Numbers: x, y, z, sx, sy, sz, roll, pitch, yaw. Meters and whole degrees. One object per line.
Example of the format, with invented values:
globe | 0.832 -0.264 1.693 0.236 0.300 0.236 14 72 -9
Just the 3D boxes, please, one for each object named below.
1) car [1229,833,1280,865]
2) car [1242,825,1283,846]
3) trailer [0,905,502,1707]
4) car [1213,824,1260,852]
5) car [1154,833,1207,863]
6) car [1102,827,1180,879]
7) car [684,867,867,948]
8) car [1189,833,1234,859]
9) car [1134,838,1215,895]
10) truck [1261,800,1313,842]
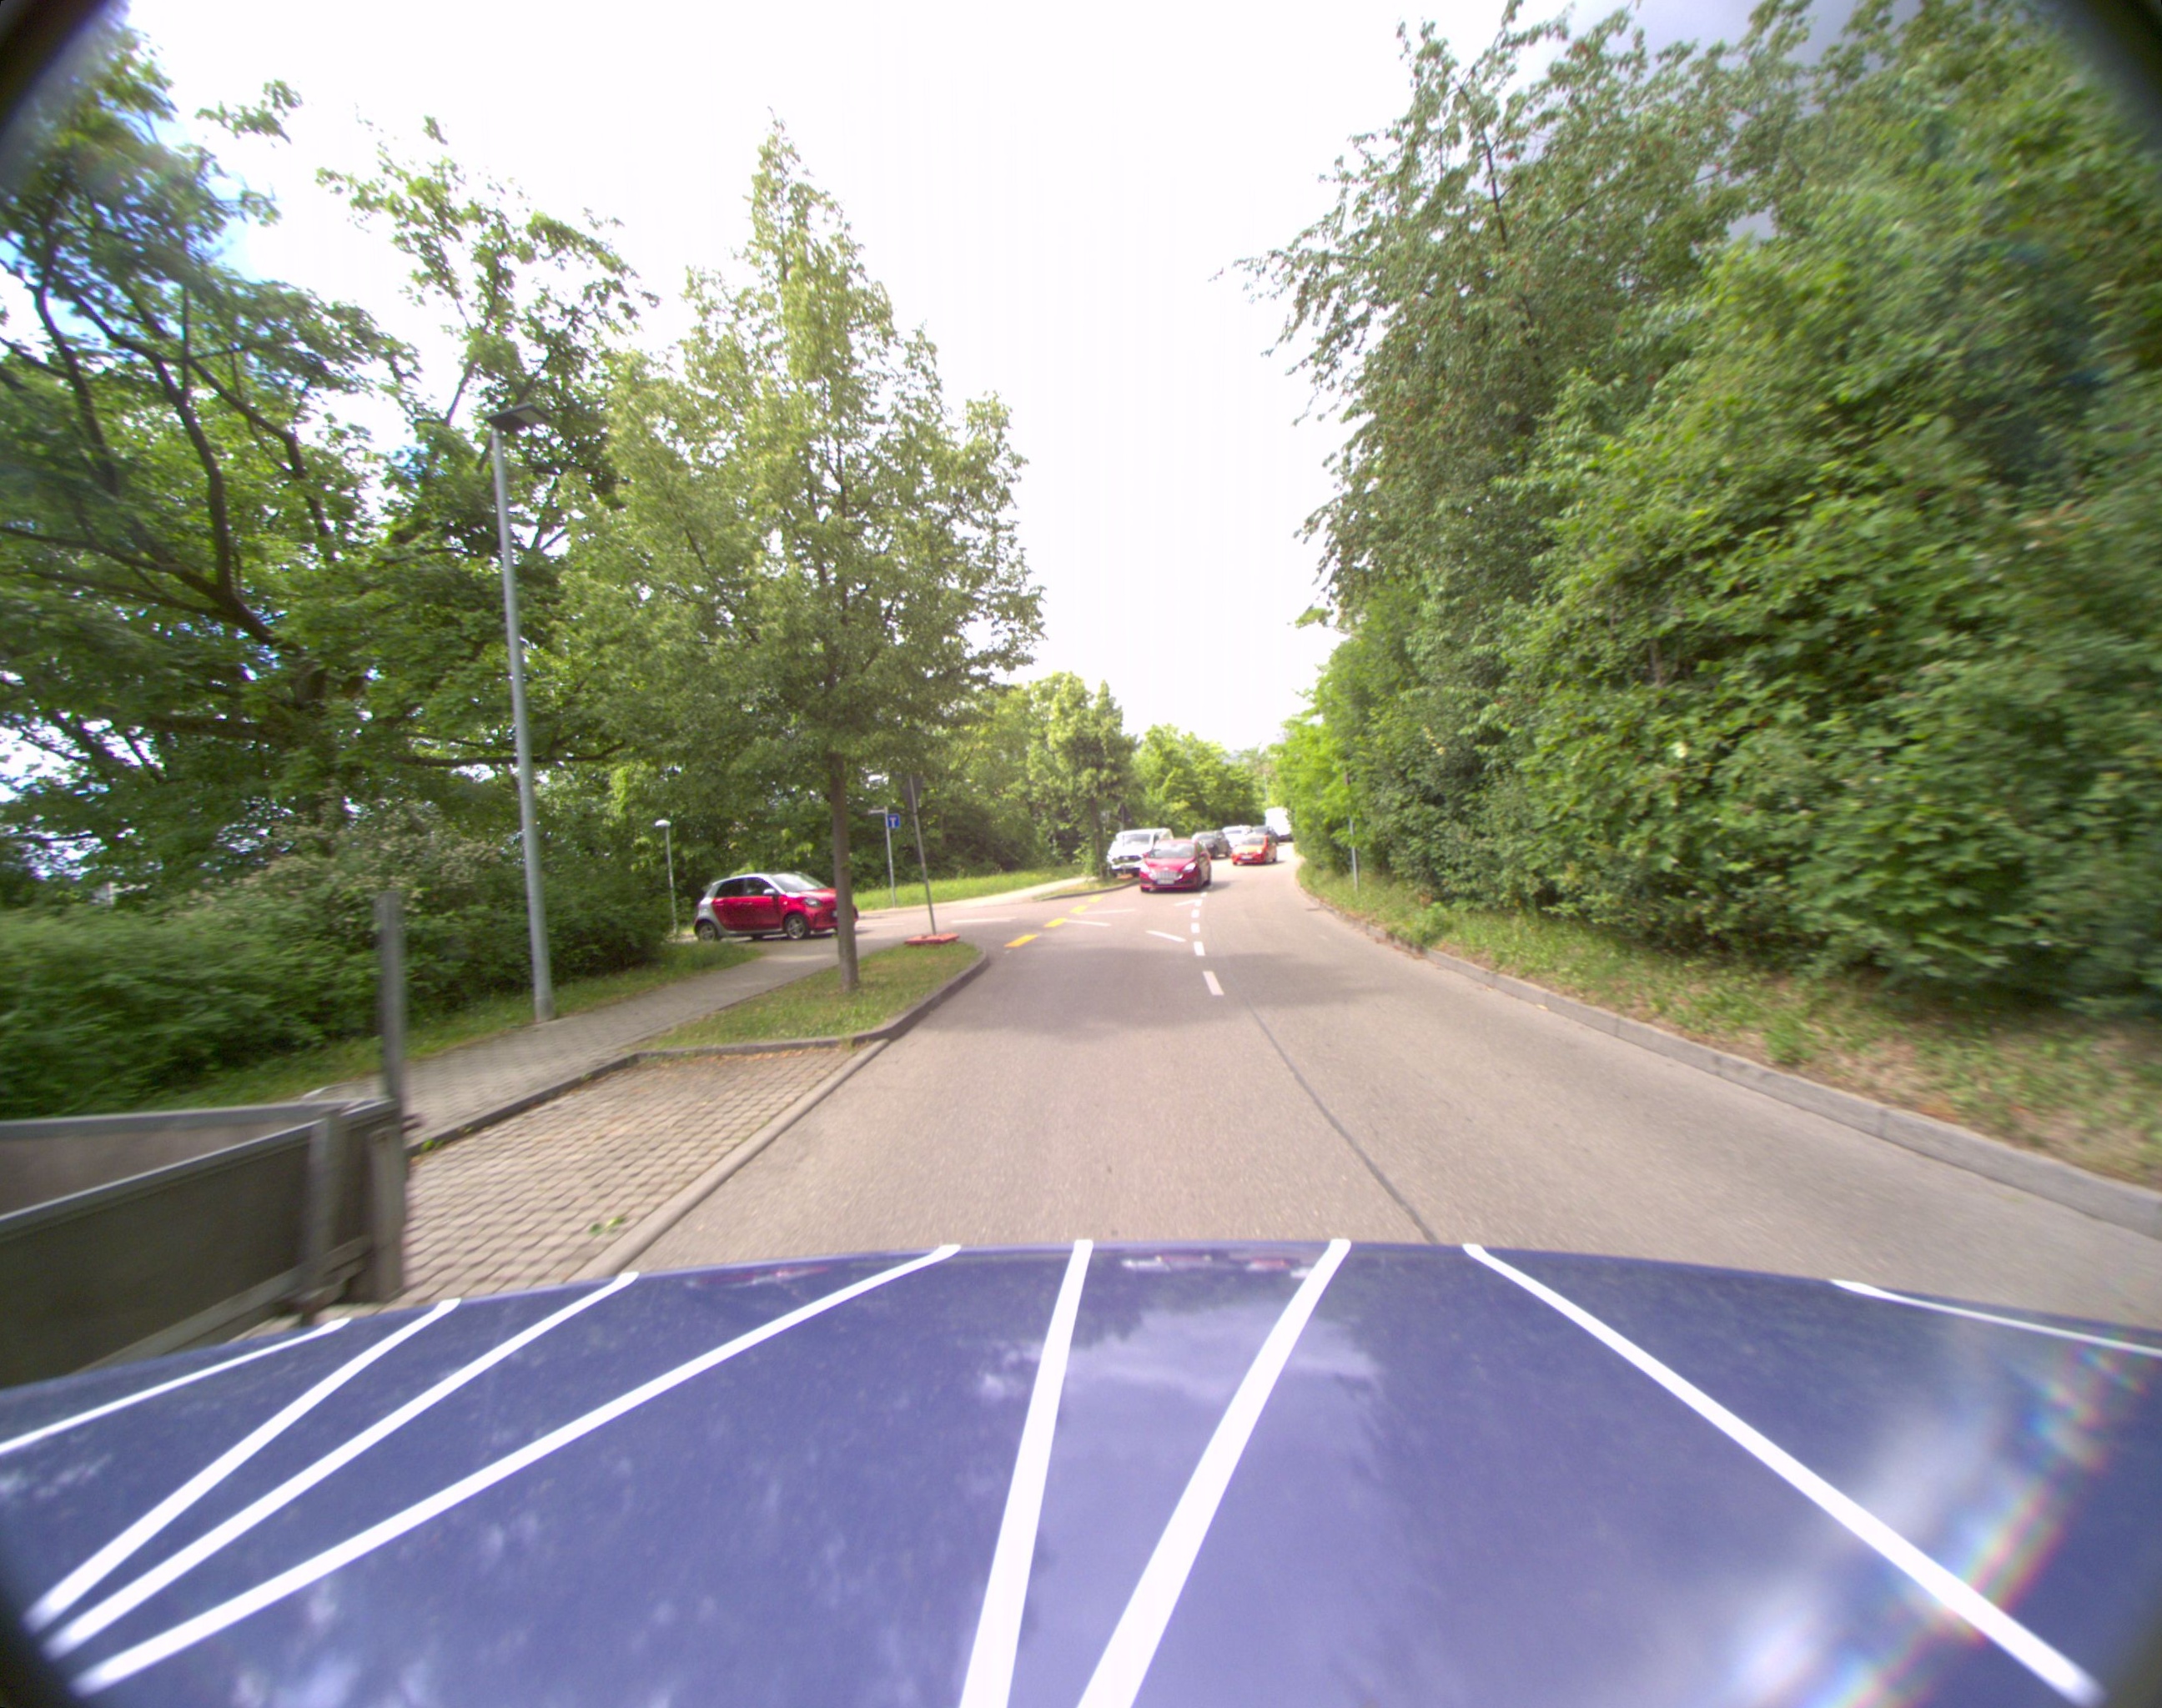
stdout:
car | 8.979 -0.283 39.056 1.793 1.405 4.117 -1 3 23
car | 13.368 -1.391 55.854 1.792 1.374 4.112 -2 1 29
trailer | -2.879 0.997 0.248 1.814 1.569 4.490 -3 0 1
car | 10.247 -1.064 49.990 1.792 1.703 4.112 -2 1 29
car | 5.235 -0.325 39.526 1.793 1.405 4.110 -2 1 21
car | 2.719 -0.098 33.106 1.867 2.047 5.434 -2 1 21
car | -6.803 1.189 16.995 3.481 1.509 1.653 -4 2 20
car | 7.780 -0.512 44.927 1.793 1.405 4.110 -2 1 21
car | 3.174 0.335 25.041 1.909 1.689 4.391 -1 1 17
truck | 16.899 -2.682 61.957 2.219 3.124 6.158 -2 1 33
